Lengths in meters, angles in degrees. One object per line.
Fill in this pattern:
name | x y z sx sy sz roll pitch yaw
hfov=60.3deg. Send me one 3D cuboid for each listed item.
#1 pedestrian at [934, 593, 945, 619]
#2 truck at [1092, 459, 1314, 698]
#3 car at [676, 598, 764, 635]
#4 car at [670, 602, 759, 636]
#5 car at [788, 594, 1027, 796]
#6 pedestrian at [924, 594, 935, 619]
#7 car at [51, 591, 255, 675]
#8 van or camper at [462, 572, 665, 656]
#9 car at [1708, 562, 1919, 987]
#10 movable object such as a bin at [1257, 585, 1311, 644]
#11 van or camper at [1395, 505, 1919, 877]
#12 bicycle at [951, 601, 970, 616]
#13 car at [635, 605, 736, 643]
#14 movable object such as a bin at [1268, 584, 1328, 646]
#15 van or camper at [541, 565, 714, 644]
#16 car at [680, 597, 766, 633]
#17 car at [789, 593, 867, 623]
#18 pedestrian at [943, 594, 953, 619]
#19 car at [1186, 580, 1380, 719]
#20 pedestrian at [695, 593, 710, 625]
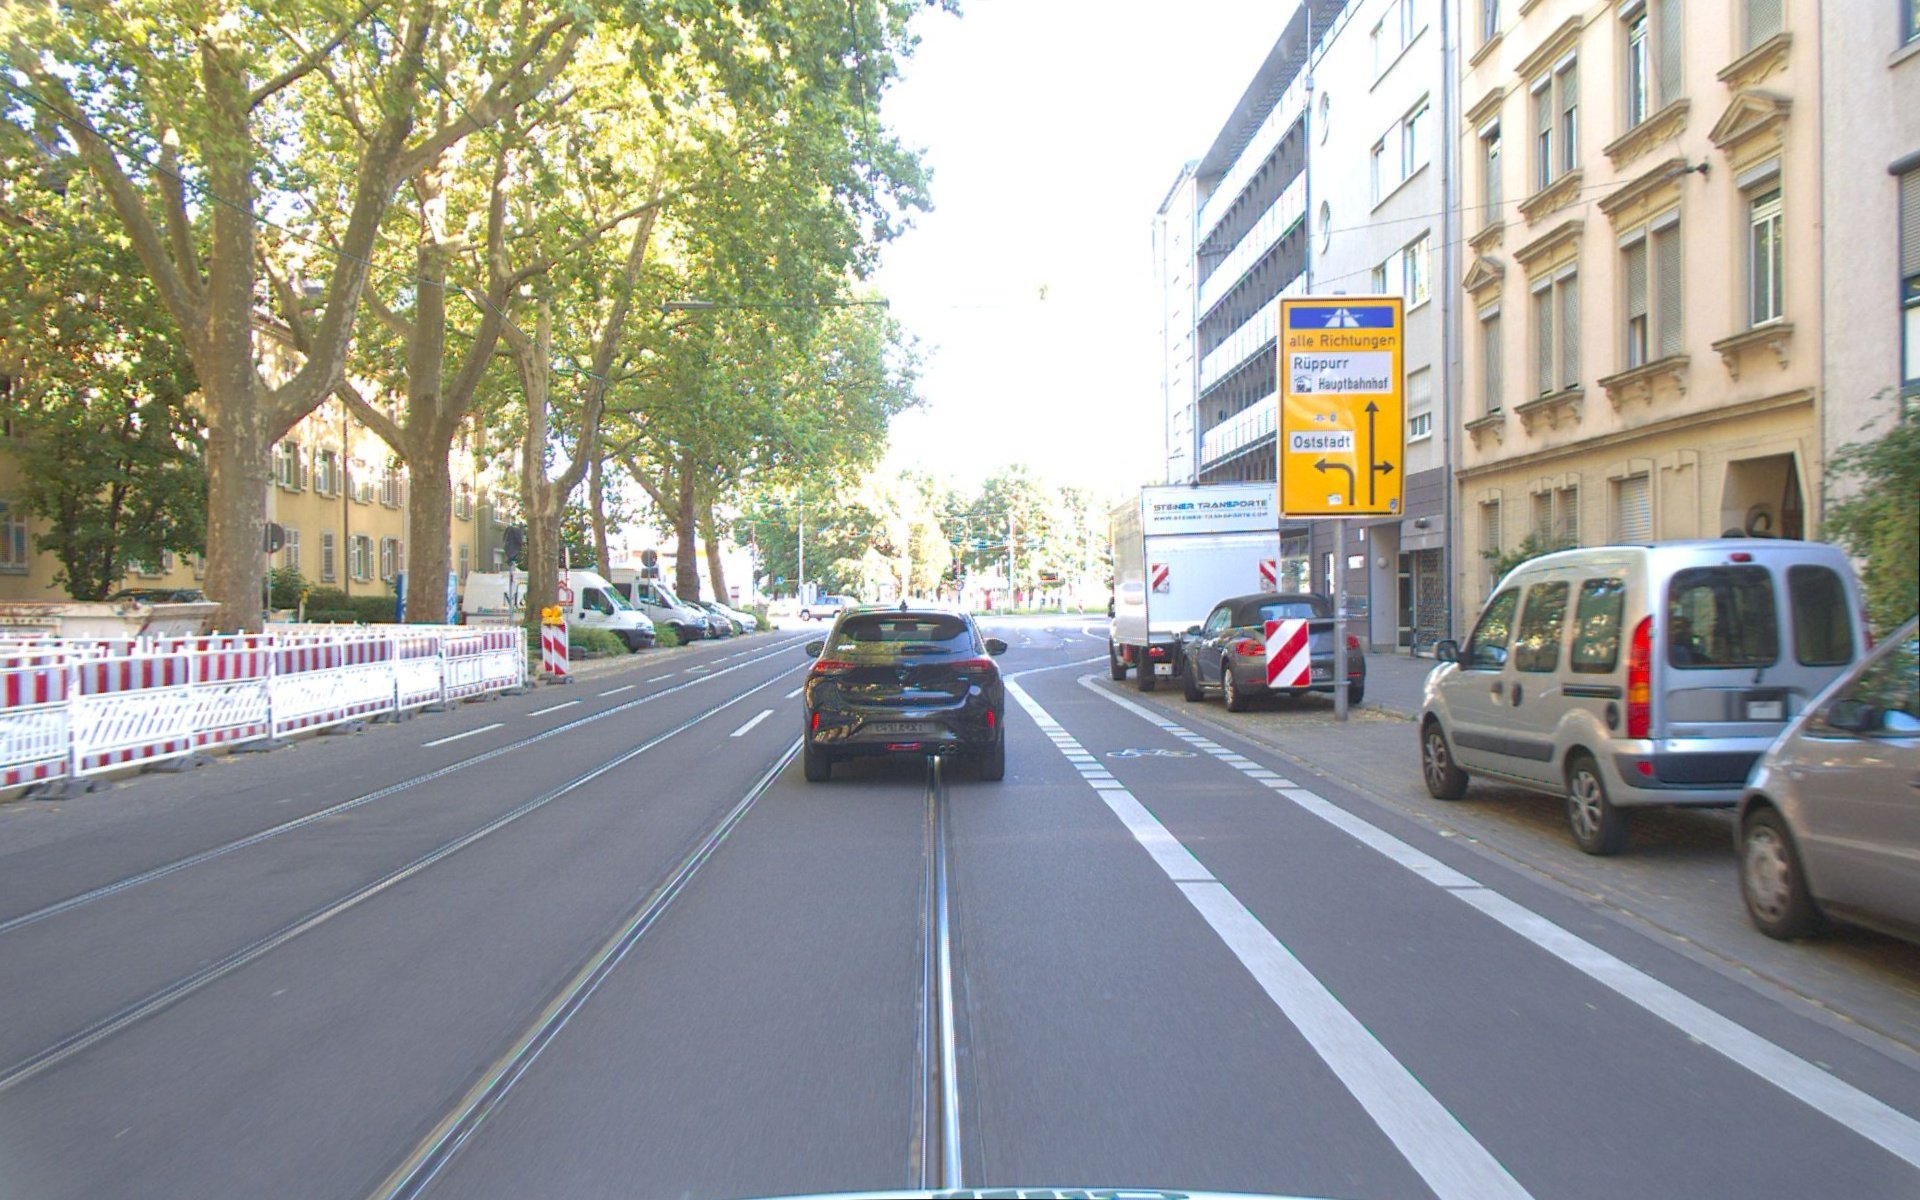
pedestrian | -1.570 0.436 125.284 0.645 1.966 0.608 0 -1 31
truck | 3.892 -0.322 28.115 2.487 3.396 7.194 -3 0 0
car | -11.660 0.774 80.643 4.086 1.700 1.963 -1 0 -4
car | -11.541 0.885 77.830 3.905 1.541 1.650 0 0 0
car | -0.319 0.716 14.621 1.744 1.522 4.002 0 0 3
pedestrian | -2.338 0.481 125.035 0.607 1.886 0.581 0 -1 40
car | -16.578 0.627 34.259 1.752 1.598 4.522 1 0 4
van or camper | -11.660 0.405 48.927 5.387 2.421 2.270 0 0 2
car | 4.437 0.640 6.152 1.626 1.608 3.588 -2 0 0
movable object such as a bin | 8.732 0.391 44.626 1.088 1.510 1.387 -3 0 -1
van or camper | 4.331 0.463 10.878 1.635 1.915 4.209 -2 0 -2
bicycle | 0.054 0.614 118.473 0.771 1.009 2.245 0 0 15
car | -11.353 0.970 68.549 3.905 1.541 1.650 0 0 0
movable object such as a bin | 8.744 0.387 42.872 1.162 1.510 1.595 -3 0 -1
van or camper | -11.645 0.154 58.277 5.607 2.690 2.269 0 0 -1
car | -11.884 0.751 83.152 4.086 1.700 1.963 -1 0 -4
car | -8.603 0.538 107.805 4.634 1.725 1.997 -3 0 28
pedestrian | -0.901 0.491 126.731 0.575 1.886 0.613 0 0 -26
car | 4.211 0.604 22.180 1.696 1.584 4.151 -3 0 0
pedestrian | -18.620 0.636 119.583 0.812 2.259 0.888 1 -1 -35
